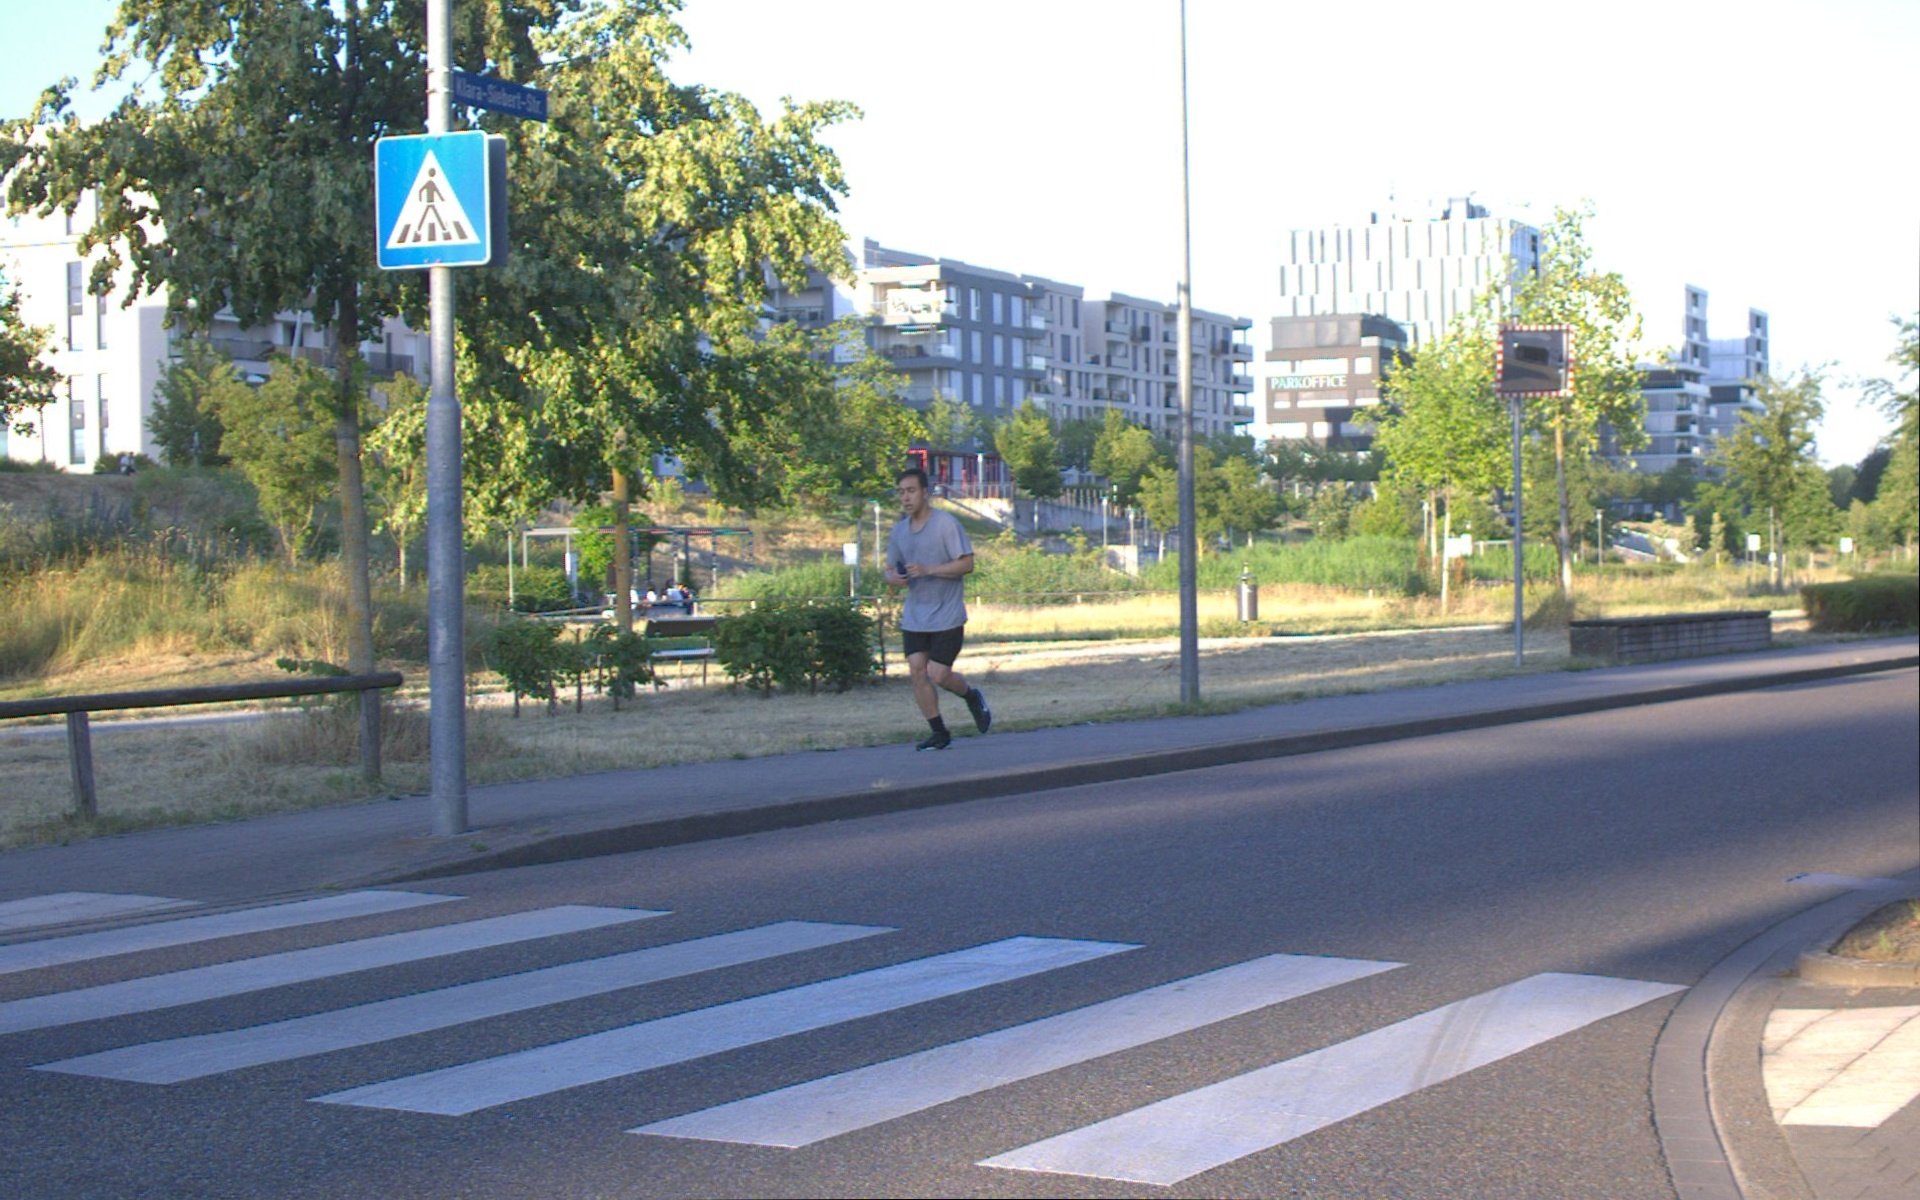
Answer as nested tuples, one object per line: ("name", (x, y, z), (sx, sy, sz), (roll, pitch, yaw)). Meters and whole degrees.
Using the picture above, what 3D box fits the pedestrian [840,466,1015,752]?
("pedestrian", (-0.195, 0.046, 21.273), (0.766, 1.724, 0.800), (0, 1, 32))

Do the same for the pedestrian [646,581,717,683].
("pedestrian", (-2.776, 0.315, 34.306), (0.499, 1.001, 0.570), (0, 1, 23))

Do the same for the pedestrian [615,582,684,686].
("pedestrian", (-3.040, 0.326, 33.659), (0.499, 1.001, 0.481), (0, 1, 23))
